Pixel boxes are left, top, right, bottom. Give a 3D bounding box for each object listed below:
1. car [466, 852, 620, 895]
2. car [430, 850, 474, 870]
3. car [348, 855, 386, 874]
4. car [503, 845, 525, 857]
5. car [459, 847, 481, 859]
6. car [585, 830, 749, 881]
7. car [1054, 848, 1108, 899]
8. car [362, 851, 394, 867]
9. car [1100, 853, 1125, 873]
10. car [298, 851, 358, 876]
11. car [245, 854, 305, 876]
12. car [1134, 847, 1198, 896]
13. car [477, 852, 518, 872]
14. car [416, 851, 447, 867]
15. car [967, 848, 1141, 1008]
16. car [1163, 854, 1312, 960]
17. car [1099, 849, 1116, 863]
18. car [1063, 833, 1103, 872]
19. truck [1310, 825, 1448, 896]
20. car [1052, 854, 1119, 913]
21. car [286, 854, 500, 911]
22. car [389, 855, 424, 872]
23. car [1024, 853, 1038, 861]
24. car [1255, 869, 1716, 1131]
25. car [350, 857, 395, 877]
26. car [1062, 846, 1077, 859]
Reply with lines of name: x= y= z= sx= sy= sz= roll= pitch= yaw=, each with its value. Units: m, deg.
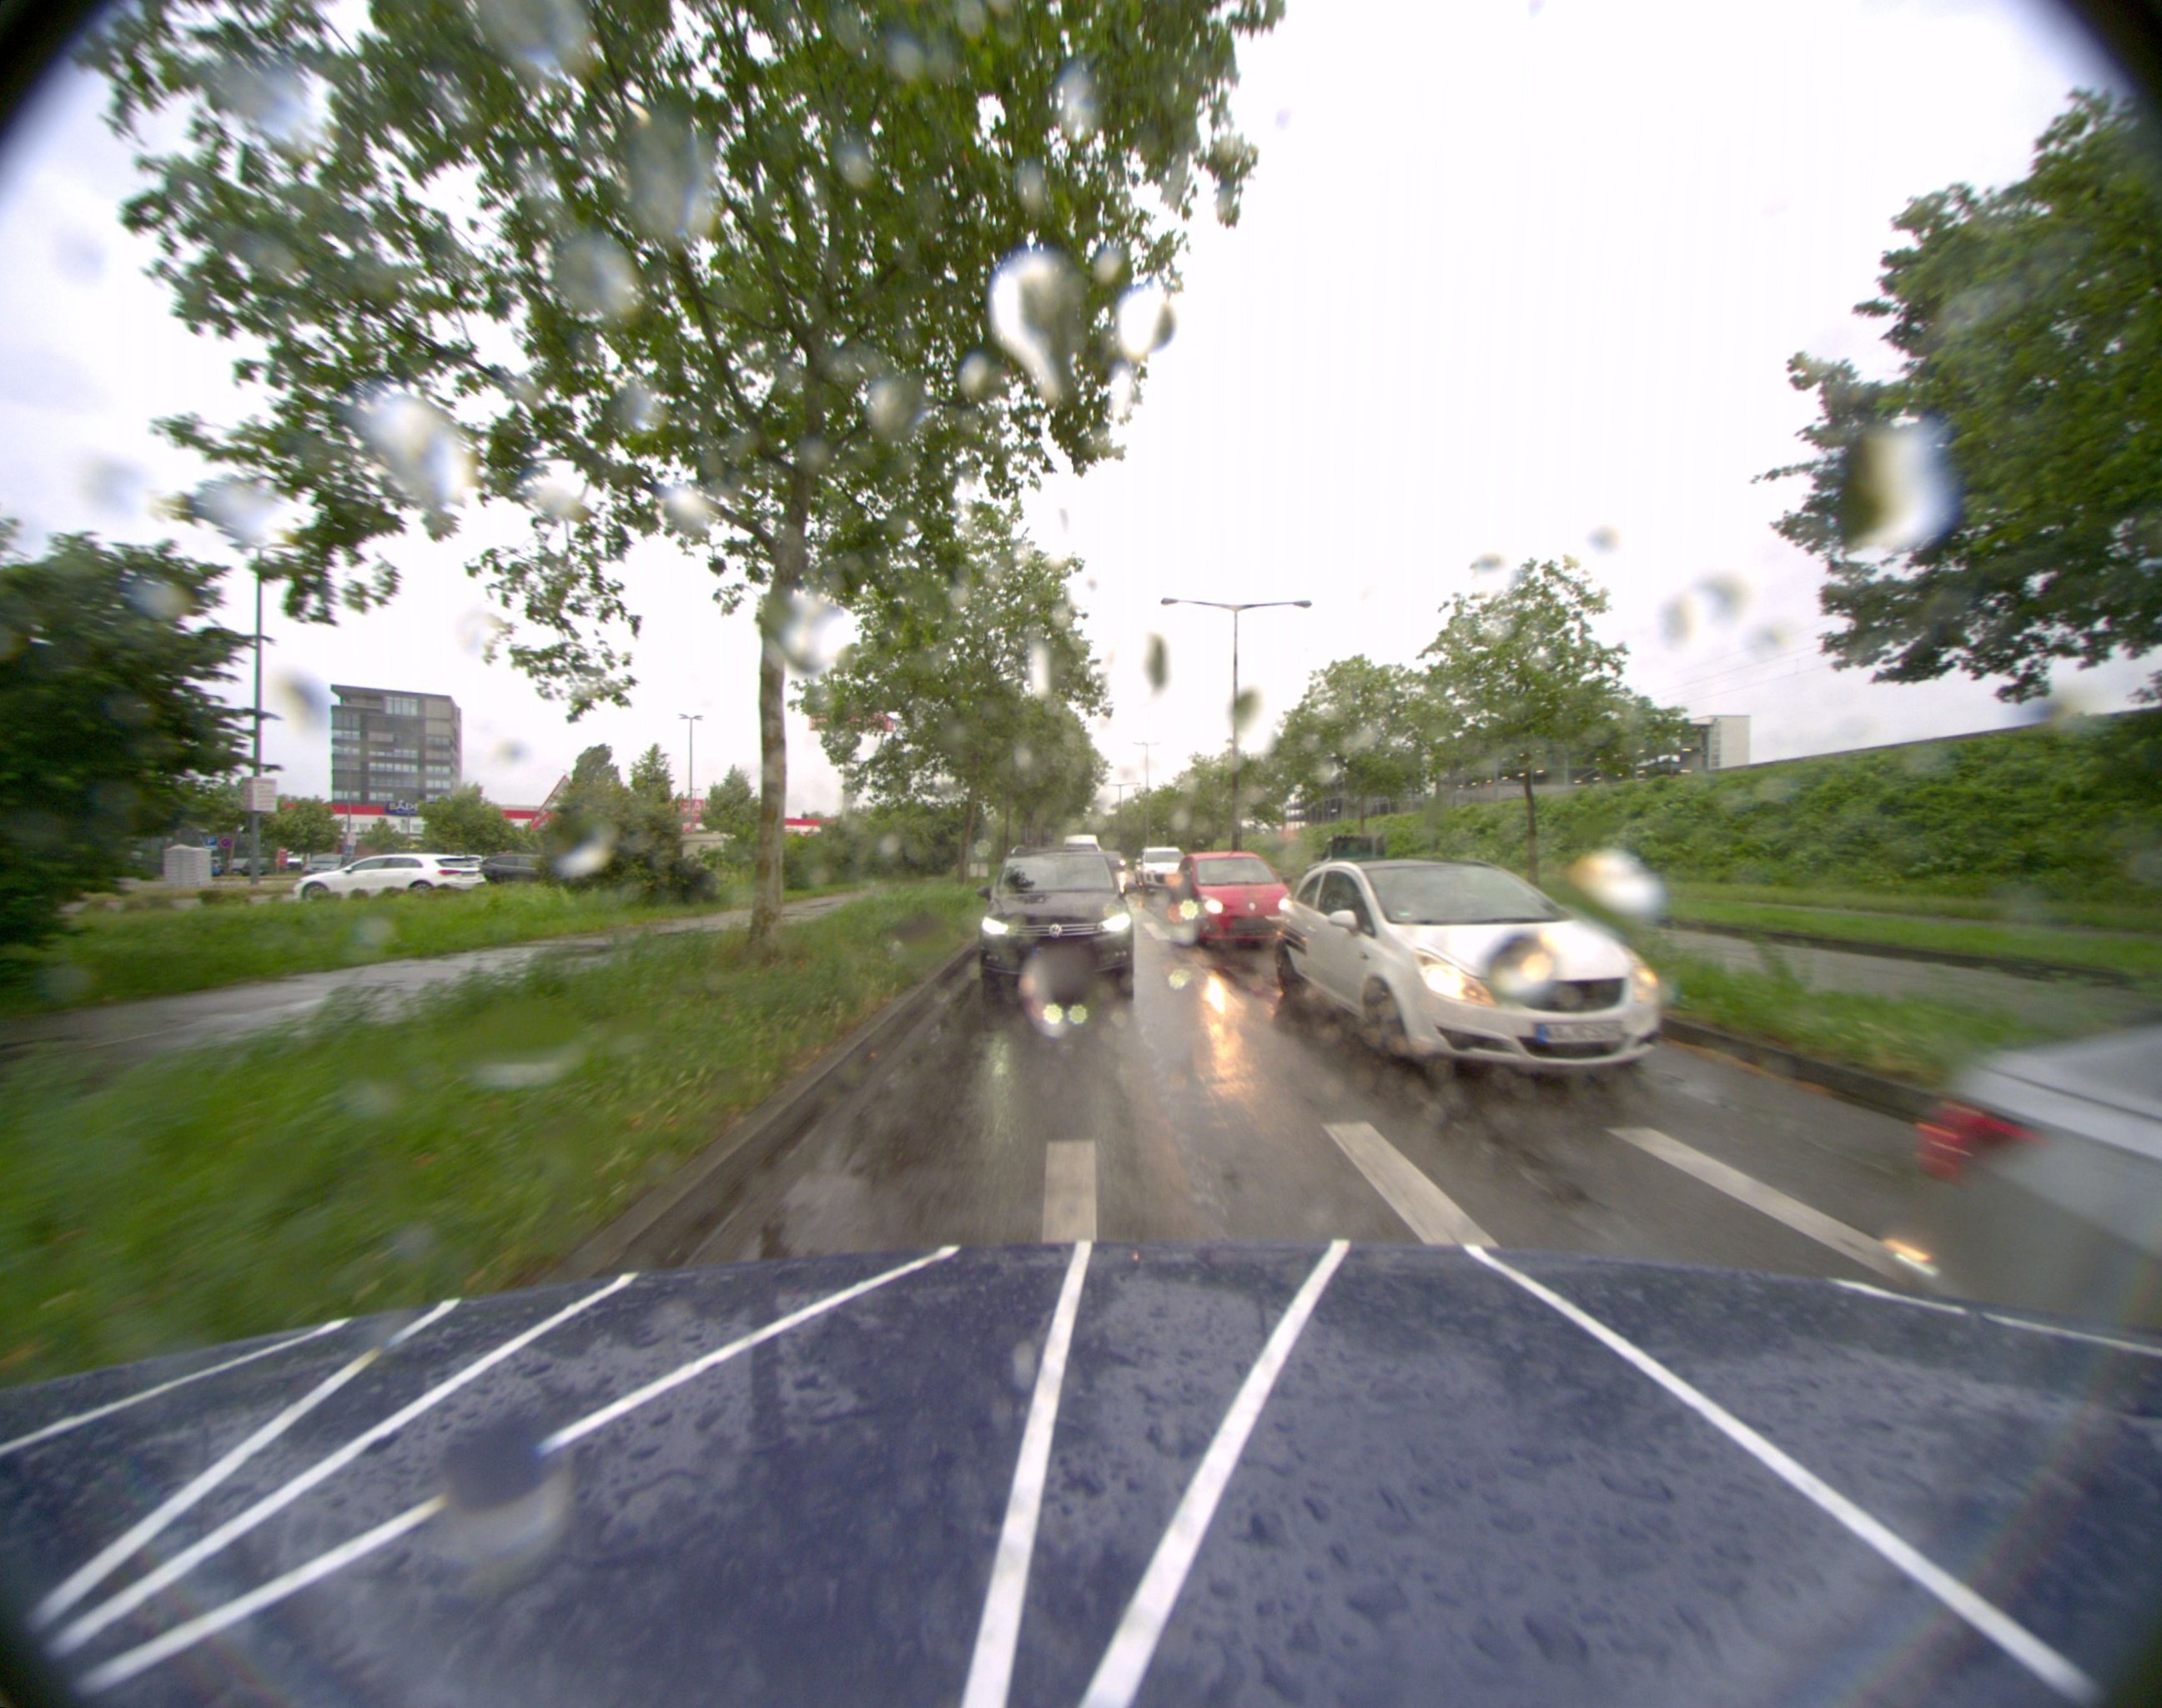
car: x=-19.904 y=0.688 z=28.287 sx=4.272 sy=1.543 sz=1.929 roll=0 pitch=1 yaw=-5
car: x=-50.799 y=0.466 z=61.474 sx=1.933 sy=1.543 sz=4.263 roll=0 pitch=1 yaw=-29
car: x=-67.385 y=0.996 z=71.788 sx=2.006 sy=1.667 sz=4.262 roll=0 pitch=1 yaw=-34
car: x=-81.940 y=-0.491 z=109.771 sx=1.933 sy=1.716 sz=4.263 roll=0 pitch=1 yaw=-29
car: x=-98.442 y=-0.222 z=122.516 sx=1.933 sy=1.866 sz=4.263 roll=0 pitch=1 yaw=-28
car: x=-19.660 y=0.068 z=36.404 sx=6.425 sy=2.349 sz=2.390 roll=0 pitch=1 yaw=-9
car: x=-0.011 y=0.688 z=28.810 sx=1.831 sy=1.737 sz=4.146 roll=-2 pitch=0 yaw=0
car: x=-78.610 y=0.523 z=85.012 sx=2.006 sy=1.667 sz=4.261 roll=-1 pitch=1 yaw=-35
car: x=2.594 y=0.732 z=63.034 sx=1.715 sy=1.494 sz=3.999 roll=-2 pitch=1 yaw=-2
car: x=-48.824 y=0.566 z=49.369 sx=1.933 sy=1.543 sz=4.262 roll=0 pitch=1 yaw=-33
car: x=-59.517 y=0.793 z=56.189 sx=1.933 sy=1.543 sz=4.262 roll=0 pitch=1 yaw=-31
car: x=3.059 y=0.594 z=28.157 sx=1.831 sy=1.603 sz=4.146 roll=-2 pitch=0 yaw=0
car: x=-46.836 y=0.634 z=61.077 sx=1.933 sy=1.543 sz=4.263 roll=0 pitch=1 yaw=-29
car: x=-78.871 y=0.541 z=92.353 sx=1.933 sy=1.866 sz=4.263 roll=0 pitch=1 yaw=-28
car: x=-0.332 y=0.761 z=10.304 sx=1.771 sy=1.596 sz=4.625 roll=-2 pitch=1 yaw=-1
car: x=2.494 y=0.779 z=13.099 sx=1.724 sy=1.456 sz=4.092 roll=-2 pitch=0 yaw=1
car: x=3.046 y=0.186 z=88.896 sx=1.715 sy=1.494 sz=3.999 roll=-2 pitch=1 yaw=-2
car: x=0.158 y=-0.122 z=42.317 sx=1.998 sy=2.002 sz=5.131 roll=-2 pitch=1 yaw=1
truck: x=10.965 y=0.181 z=28.764 sx=2.480 sy=2.351 sz=6.866 roll=0 pitch=1 yaw=0
car: x=0.113 y=0.775 z=22.012 sx=1.724 sy=1.456 sz=4.092 roll=-2 pitch=0 yaw=0
car: x=-19.745 y=0.774 z=21.990 sx=4.272 sy=1.543 sz=1.929 roll=0 pitch=1 yaw=-5
car: x=-68.790 y=0.956 z=77.564 sx=2.006 sy=1.667 sz=4.262 roll=0 pitch=1 yaw=-33
car: x=-11.061 y=0.596 z=167.864 sx=2.002 sy=1.609 sz=3.993 roll=-3 pitch=1 yaw=-20
car: x=2.826 y=0.892 z=6.441 sx=1.683 sy=1.369 sz=4.010 roll=-2 pitch=0 yaw=-1
car: x=-57.865 y=1.046 z=62.131 sx=1.933 sy=1.543 sz=4.262 roll=0 pitch=1 yaw=-33
car: x=-1.862 y=-0.249 z=120.082 sx=1.726 sy=2.002 sz=3.995 roll=-2 pitch=1 yaw=-11
